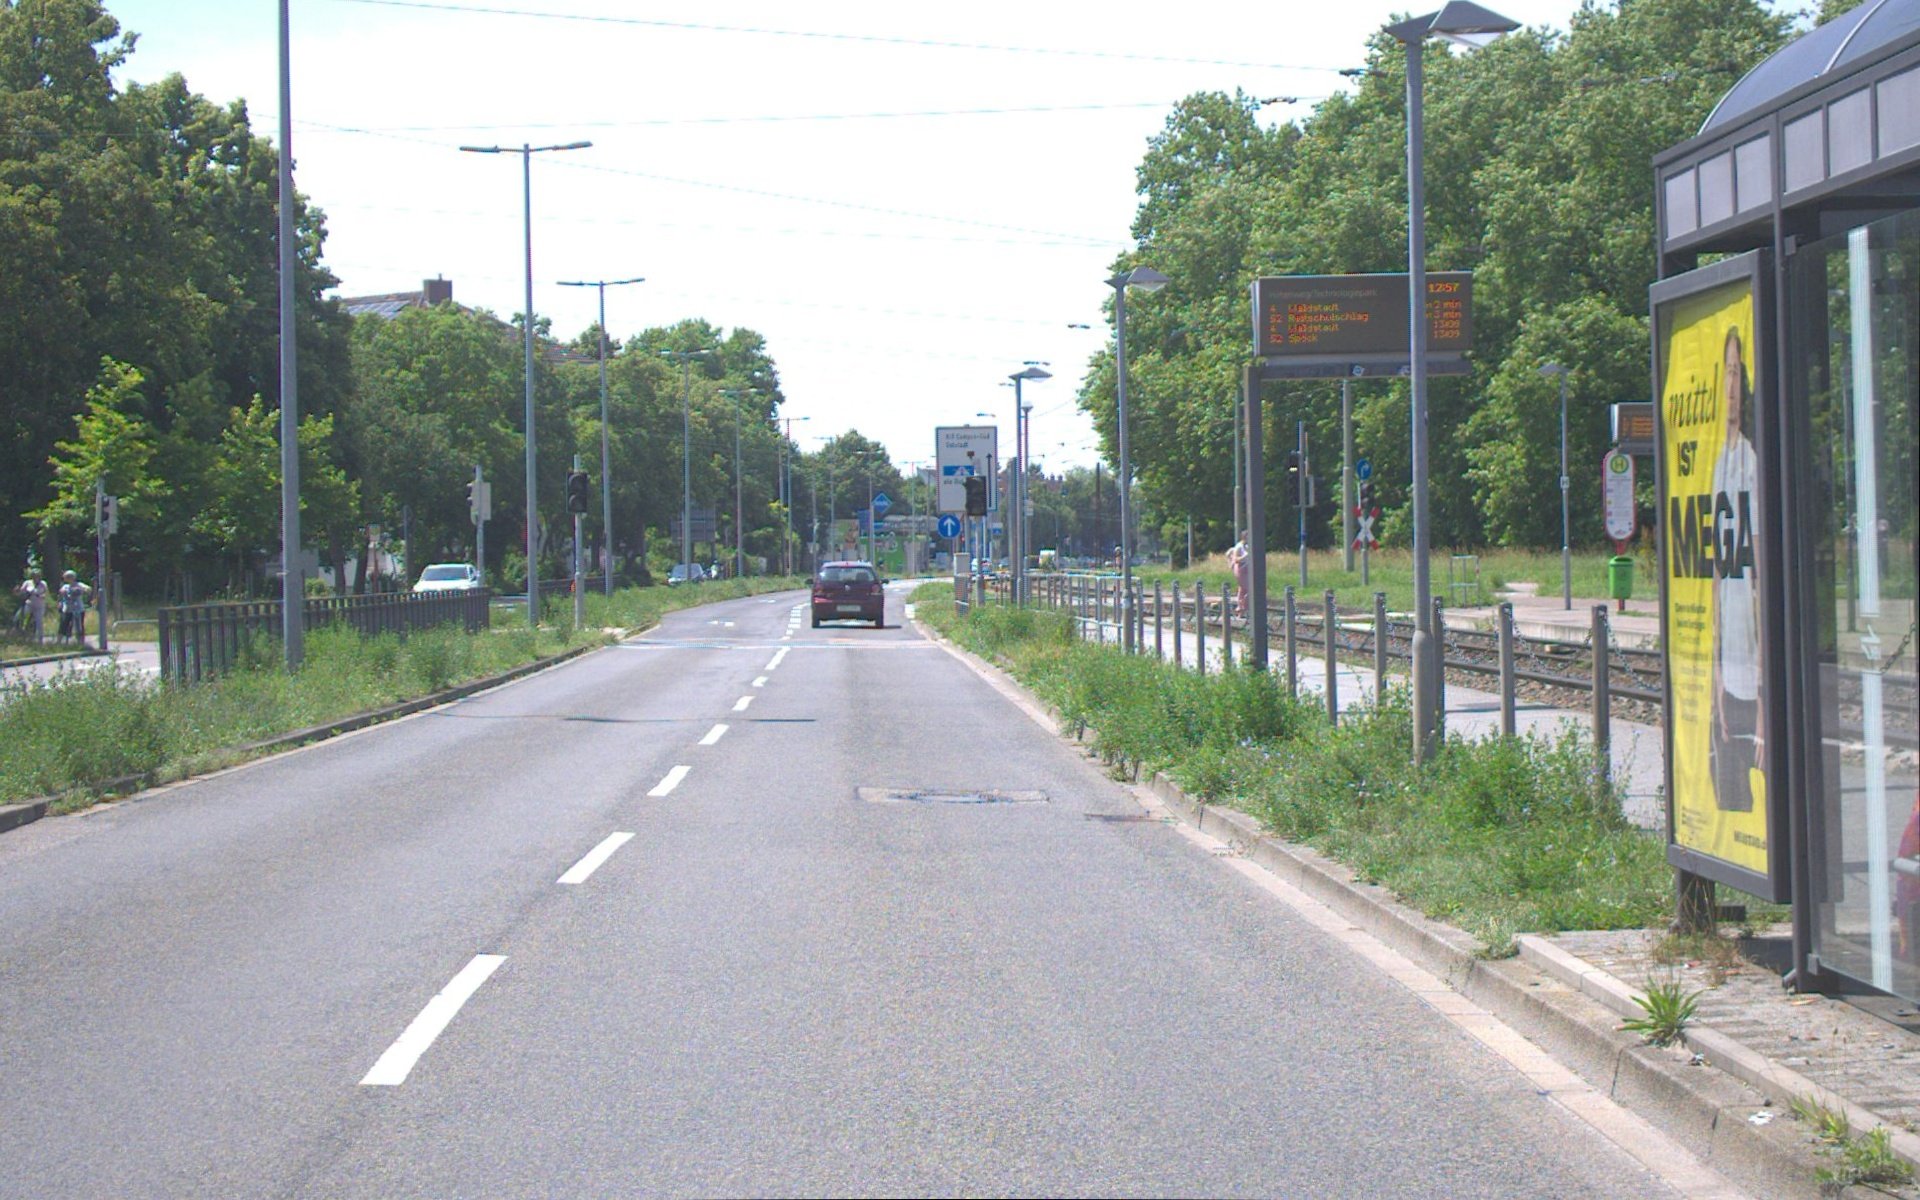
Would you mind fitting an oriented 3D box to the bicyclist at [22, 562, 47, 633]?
[{"bbox_3d":[-18.137,-0.059,67.388,0.357,1.387,0.440,0,1,1],"label":"bicyclist"}]

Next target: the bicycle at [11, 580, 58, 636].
[{"bbox_3d":[-18.163,0.152,67.486,0.554,1.091,1.379,0,0,0],"label":"bicycle"}]

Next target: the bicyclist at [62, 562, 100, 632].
[{"bbox_3d":[-17.254,-0.066,67.514,0.544,1.341,0.755,-1,1,-2],"label":"bicyclist"}]

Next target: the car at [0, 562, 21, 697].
[{"bbox_3d":[-13.324,0.368,43.336,1.859,1.752,4.480,0,0,-2],"label":"car"}]

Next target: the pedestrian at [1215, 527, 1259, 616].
[{"bbox_3d":[5.574,-0.568,69.121,0.634,1.753,0.817,1,0,-15],"label":"pedestrian"}]

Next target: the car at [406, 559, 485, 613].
[{"bbox_3d":[-15.420,-0.440,103.152,1.821,1.567,4.347,-1,1,-2],"label":"car"}]

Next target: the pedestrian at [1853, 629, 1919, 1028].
[{"bbox_3d":[2.799,0.601,9.320,0.575,1.036,0.579,-1,1,-1],"label":"pedestrian"}]

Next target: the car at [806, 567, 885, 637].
[{"bbox_3d":[-2.546,0.028,77.102,1.703,1.472,3.717,-1,1,-1],"label":"car"}]

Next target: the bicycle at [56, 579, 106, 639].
[{"bbox_3d":[-17.274,0.169,67.595,0.588,1.129,1.615,-1,1,-1],"label":"bicycle"}]
